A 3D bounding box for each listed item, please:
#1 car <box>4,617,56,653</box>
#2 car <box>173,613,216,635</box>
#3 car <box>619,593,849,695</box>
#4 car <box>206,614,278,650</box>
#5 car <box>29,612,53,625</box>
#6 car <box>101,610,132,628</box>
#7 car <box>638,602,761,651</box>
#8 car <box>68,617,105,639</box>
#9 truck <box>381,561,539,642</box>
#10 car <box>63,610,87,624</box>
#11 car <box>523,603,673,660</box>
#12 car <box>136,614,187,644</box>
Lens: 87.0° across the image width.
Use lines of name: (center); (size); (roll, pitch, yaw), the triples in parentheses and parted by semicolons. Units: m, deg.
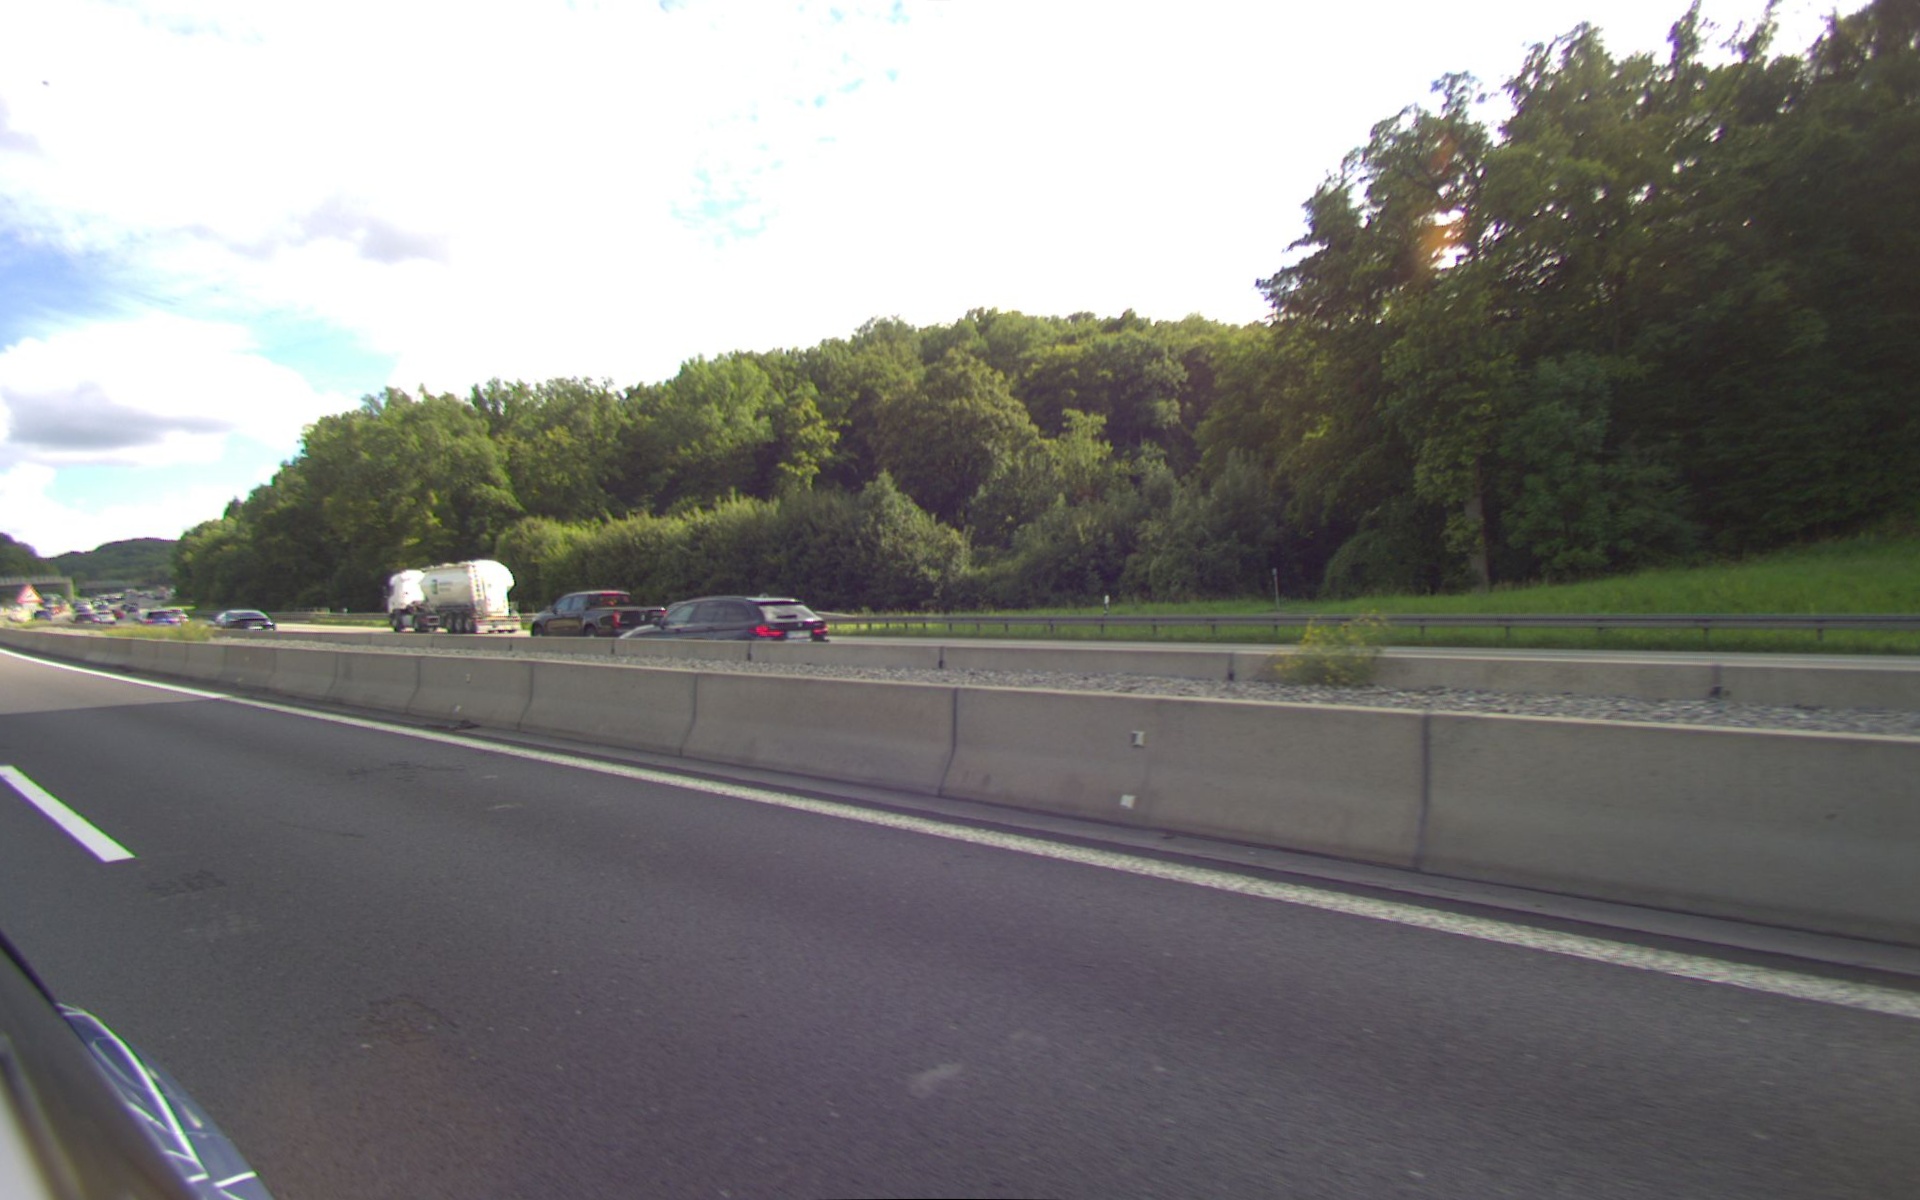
car: (-56.100, 2.070, 61.032); (3.999, 2.050, 1.972); (-2, 0, 42)
car: (-56.378, 1.738, 74.533); (4.548, 1.542, 1.813); (-1, 0, 43)
car: (-4.214, 0.740, 18.472); (4.480, 1.618, 1.783); (-1, 0, 41)
car: (-32.778, 1.432, 46.131); (4.538, 1.489, 1.748); (-1, 0, 42)
car: (-121.942, 2.450, 134.285); (4.001, 1.767, 2.097); (-1, 0, 44)
car: (-88.043, 1.959, 105.604); (4.001, 1.767, 2.075); (-1, 0, 44)
car: (-8.694, 0.854, 33.604); (4.341, 1.476, 1.880); (-1, 0, 42)
car: (-64.919, 2.070, 75.220); (4.063, 1.509, 1.581); (-1, 0, 42)
truck: (-29.044, 0.111, 58.245); (13.677, 4.158, 3.413); (-1, 0, 42)
car: (-115.201, 2.183, 131.689); (4.001, 1.767, 2.075); (-1, 0, 44)
car: (-10.676, 0.884, 29.680); (5.039, 1.504, 2.015); (-1, 0, 42)
car: (-44.231, 1.593, 56.047); (3.842, 1.542, 1.581); (-1, 0, 42)
